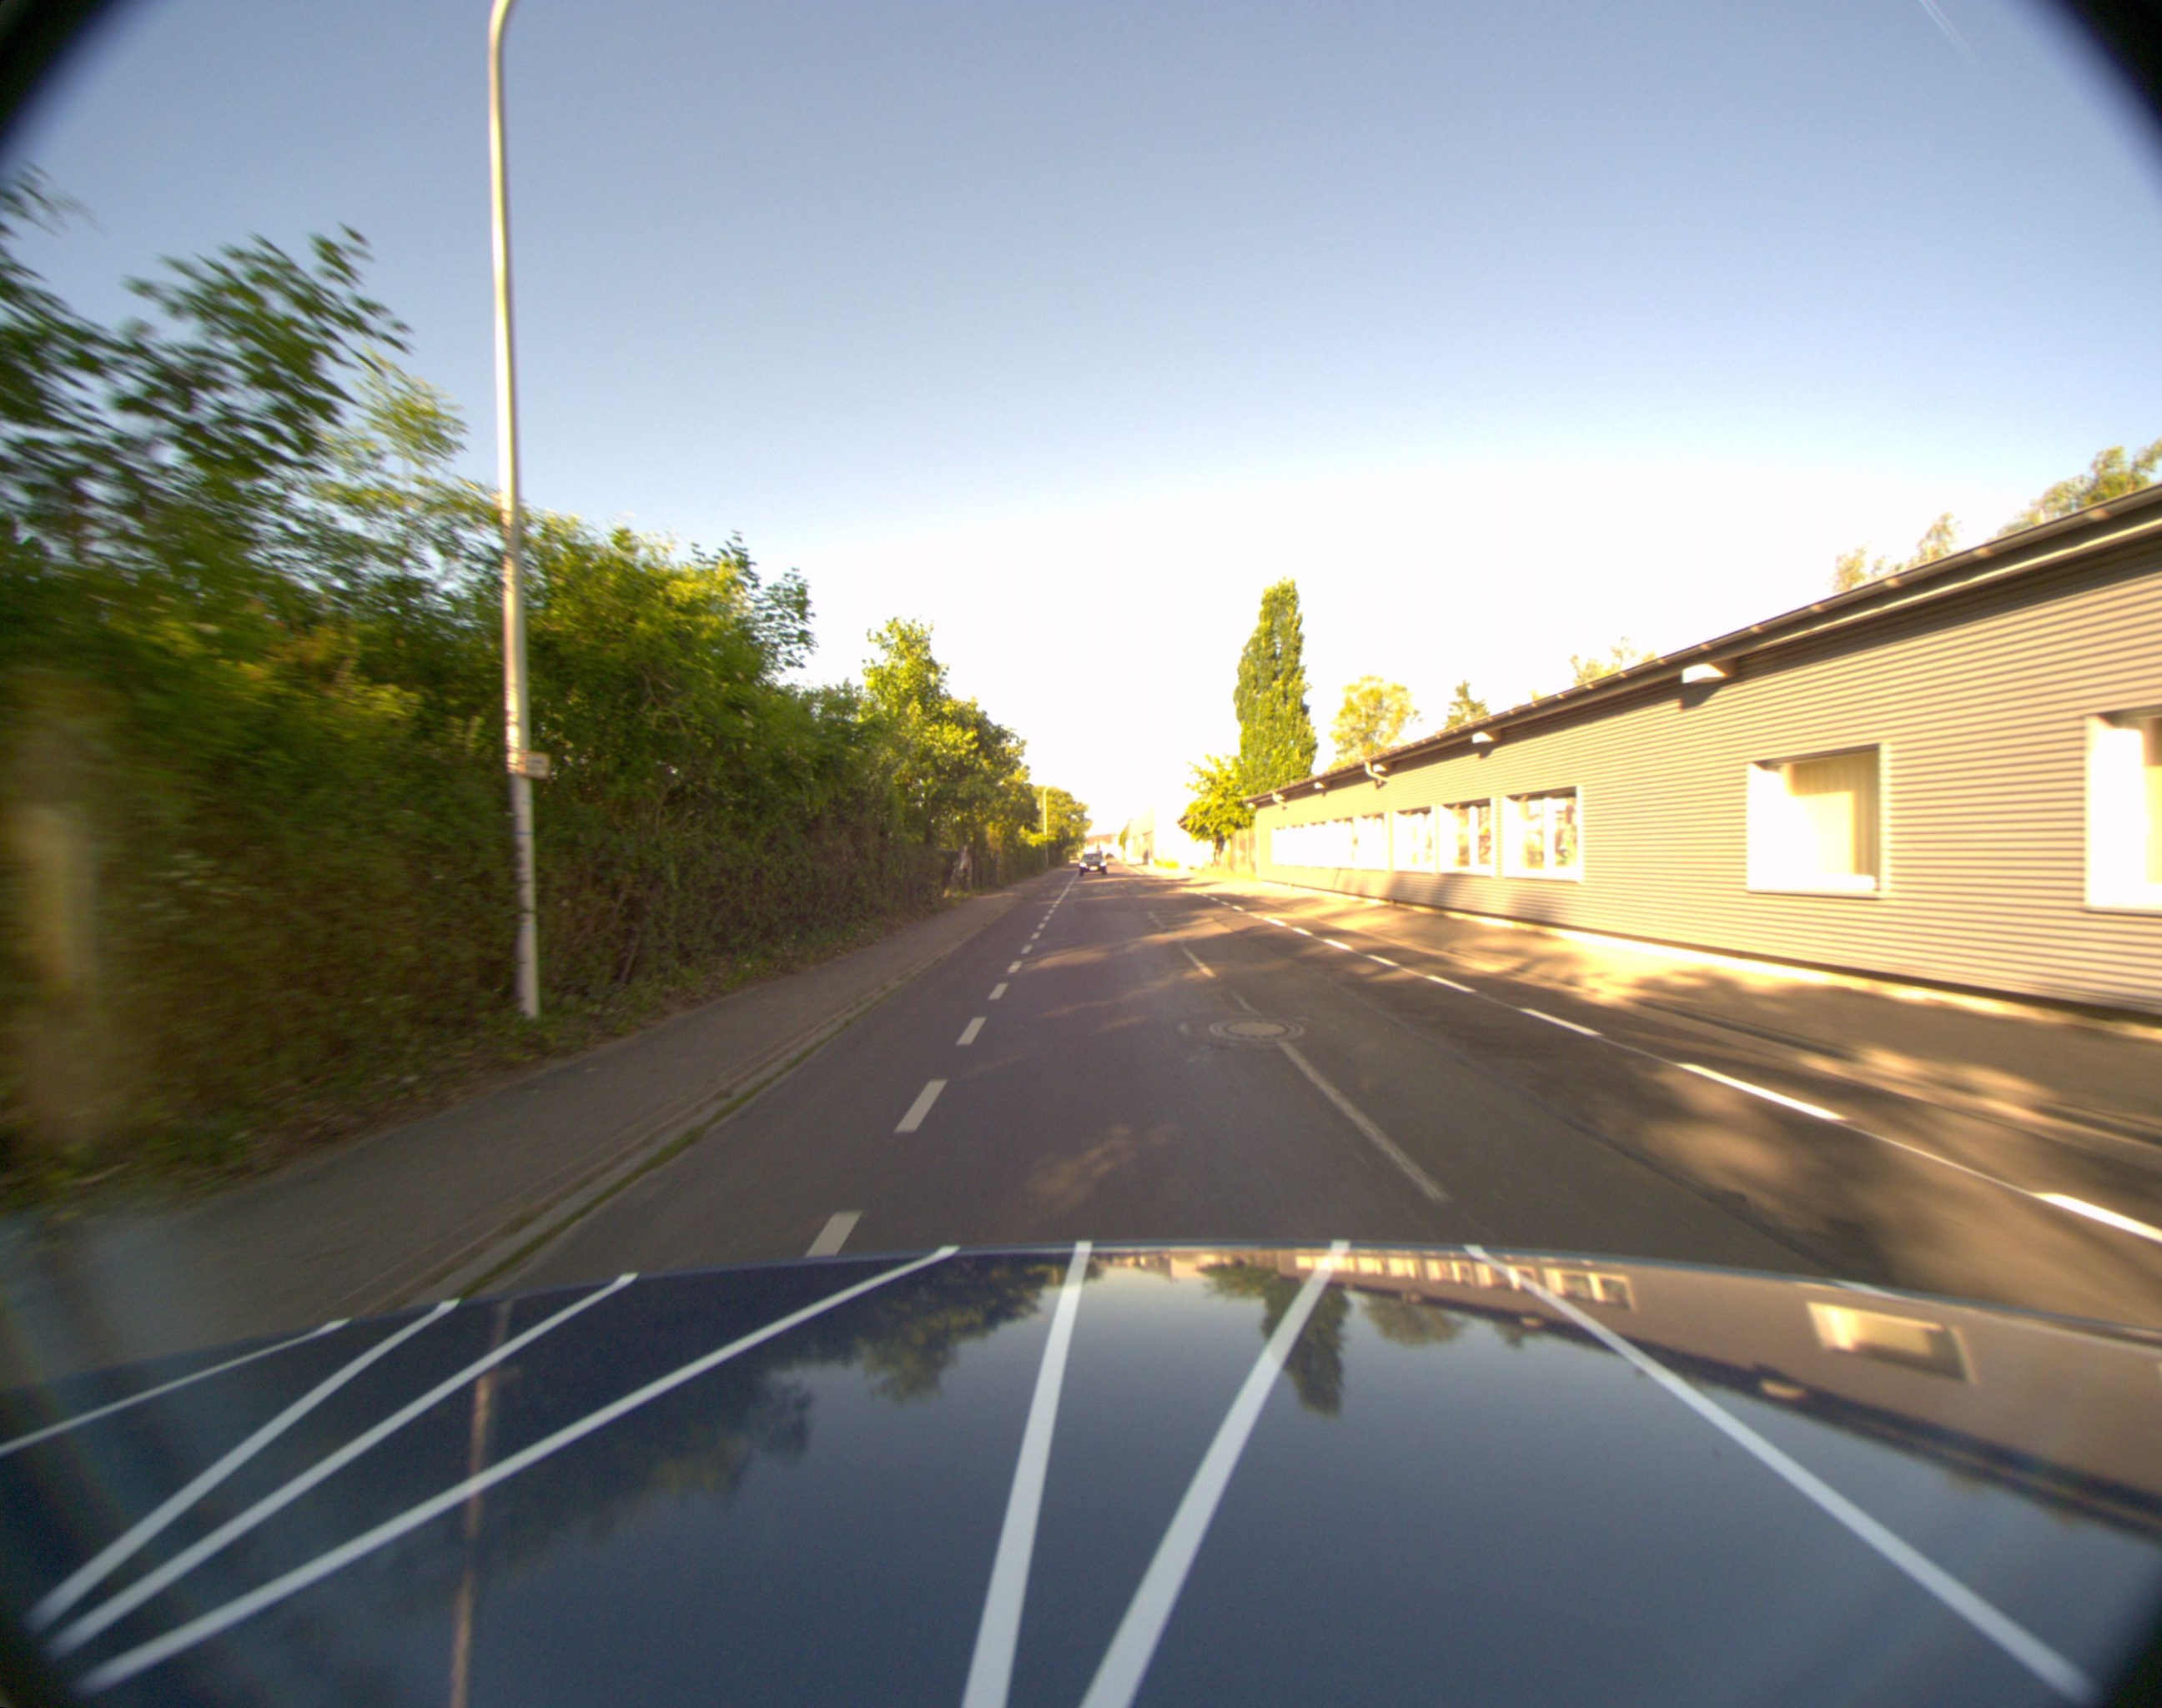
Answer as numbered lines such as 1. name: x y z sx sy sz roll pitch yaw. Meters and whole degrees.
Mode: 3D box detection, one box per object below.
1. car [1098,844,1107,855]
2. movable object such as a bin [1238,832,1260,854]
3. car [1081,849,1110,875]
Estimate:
1. car: 5.477 -1.188 193.064 2.128 2.765 5.925 1 1 0
2. movable object such as a bin: 16.866 -1.075 76.508 1.580 2.080 2.478 -1 0 -1
3. car: 1.036 0.549 55.578 2.037 1.624 4.612 -2 2 1
